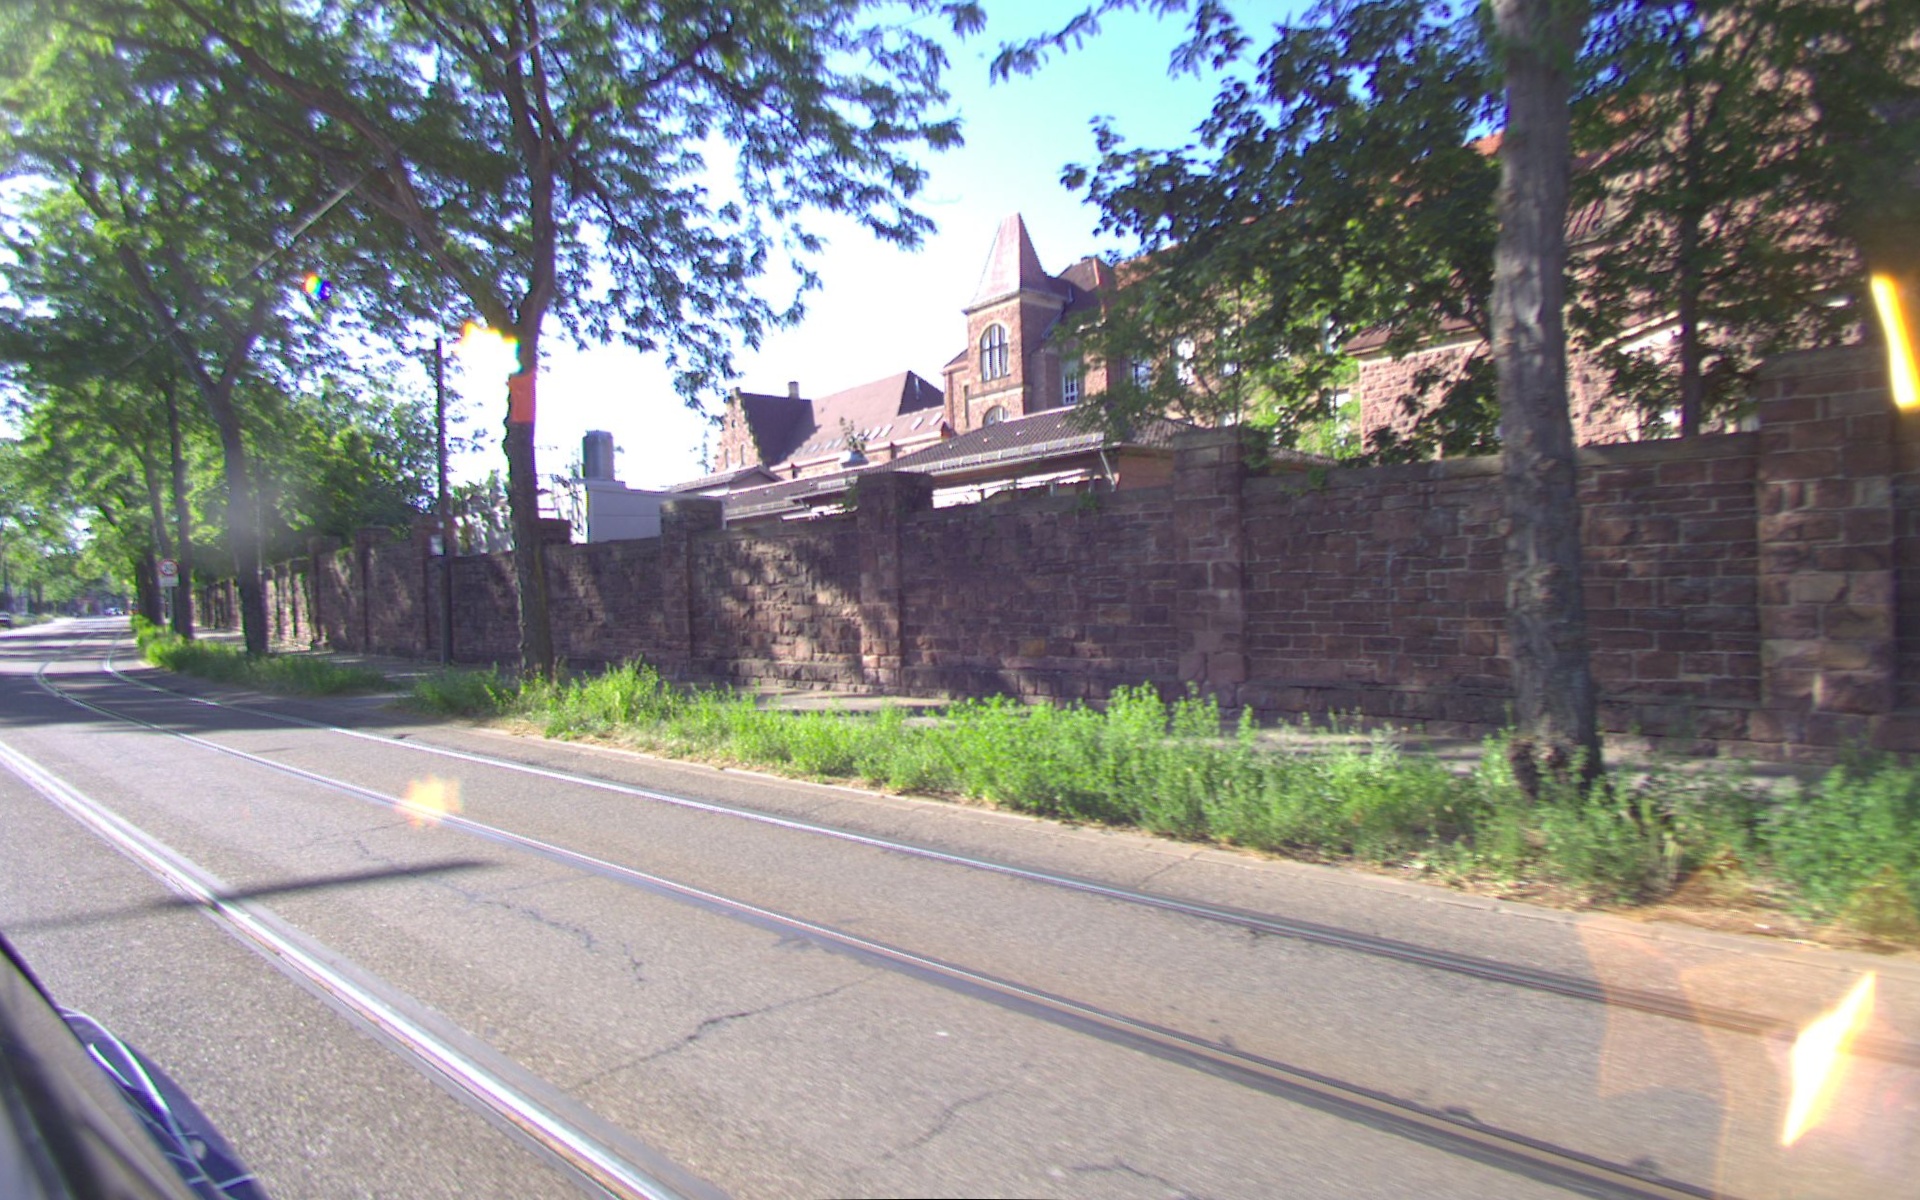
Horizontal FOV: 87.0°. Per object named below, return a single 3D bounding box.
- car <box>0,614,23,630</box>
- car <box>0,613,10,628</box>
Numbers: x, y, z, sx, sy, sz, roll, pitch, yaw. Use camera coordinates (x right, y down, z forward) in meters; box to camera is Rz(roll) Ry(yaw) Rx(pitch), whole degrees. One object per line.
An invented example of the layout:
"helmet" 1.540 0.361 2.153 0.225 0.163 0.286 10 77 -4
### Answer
"car" -105.967 2.442 112.773 1.968 1.429 4.008 -2 3 -39
"car" -98.578 2.140 103.324 1.968 1.494 4.007 -2 1 -39
